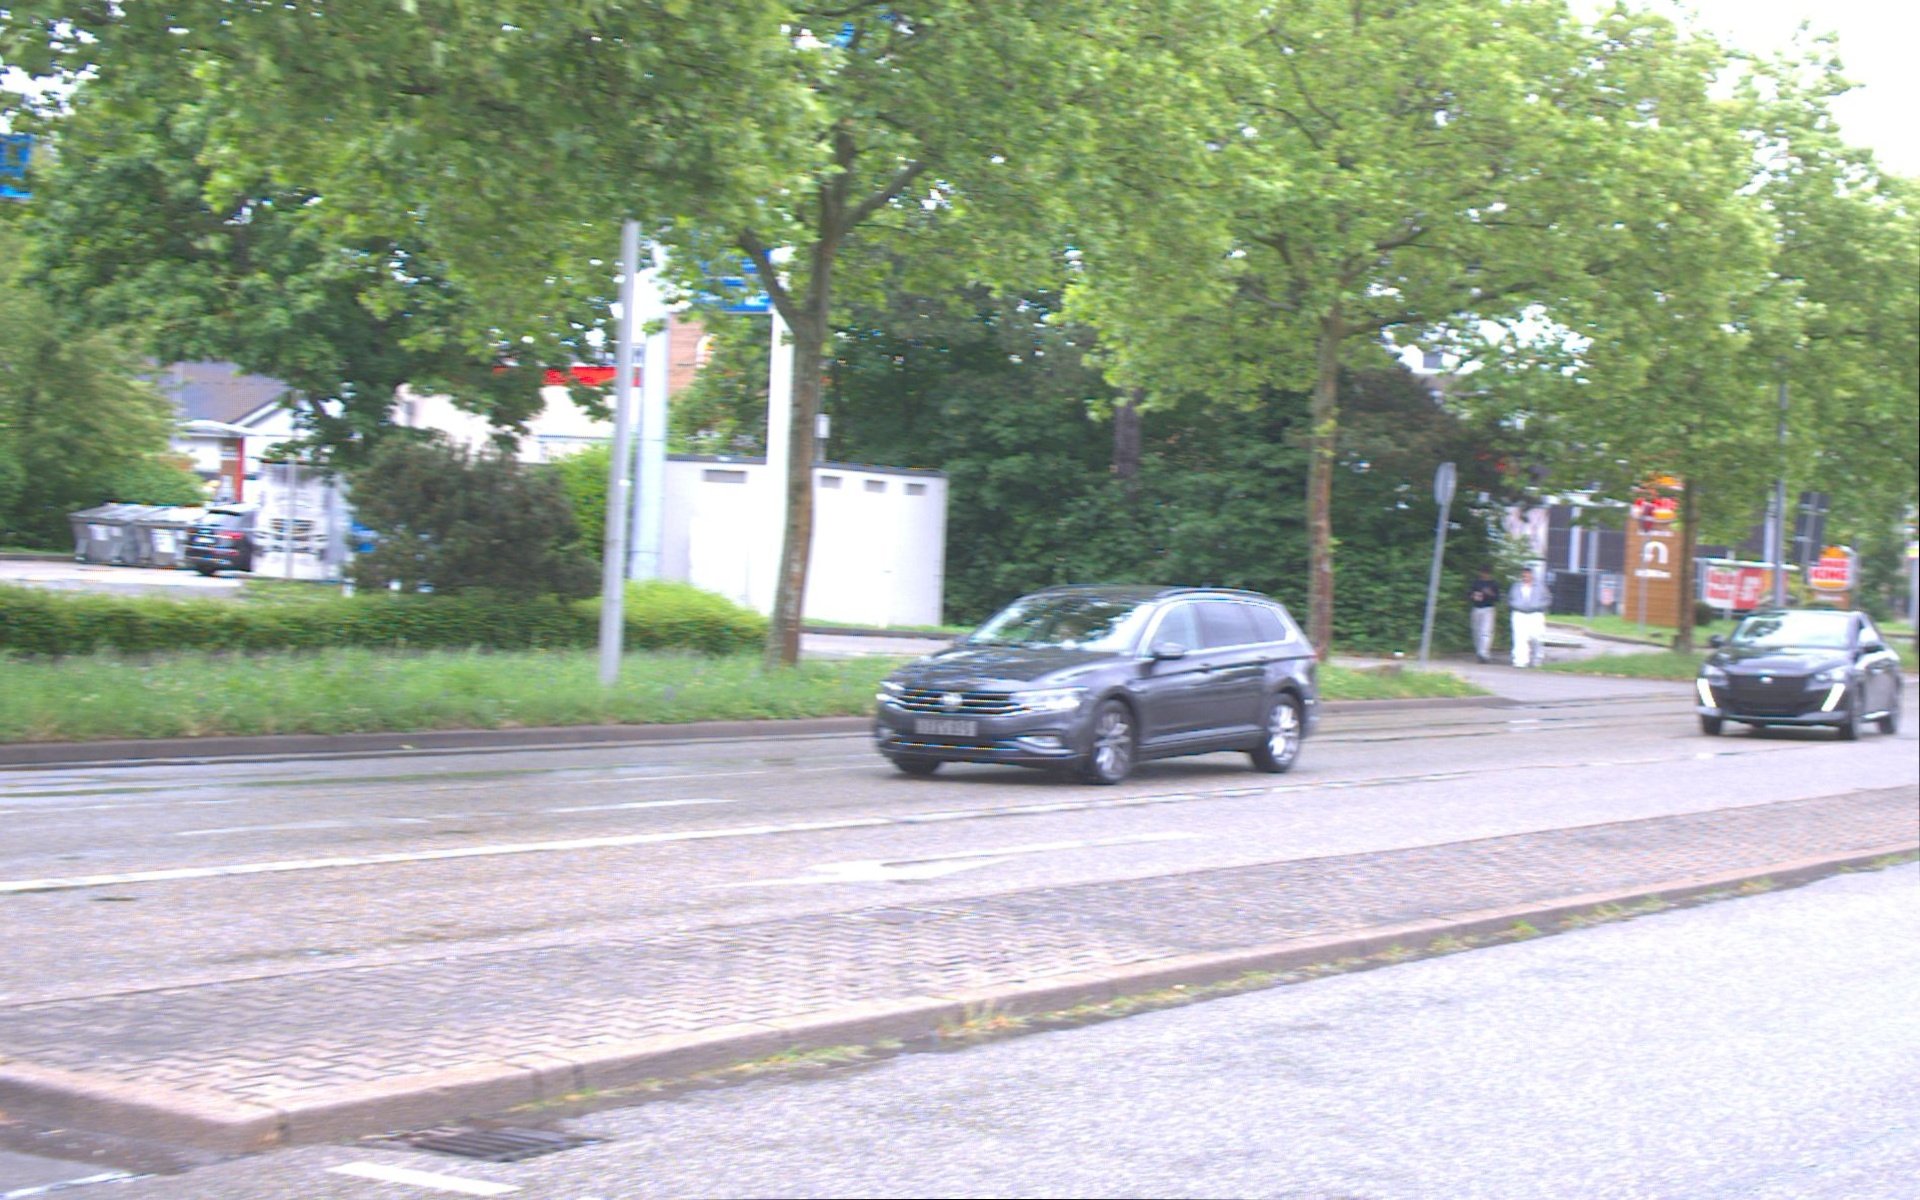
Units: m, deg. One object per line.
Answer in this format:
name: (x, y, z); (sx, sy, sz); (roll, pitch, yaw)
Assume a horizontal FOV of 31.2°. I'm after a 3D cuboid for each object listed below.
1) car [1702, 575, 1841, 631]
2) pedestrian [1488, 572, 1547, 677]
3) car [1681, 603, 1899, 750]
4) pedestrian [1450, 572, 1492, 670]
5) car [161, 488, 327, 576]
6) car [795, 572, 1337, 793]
car: (21.152, 0.084, 89.630); (3.182, 1.151, 1.288); (6, 2, 33)
pedestrian: (9.574, 0.419, 59.041); (0.581, 1.760, 0.666); (3, 1, -41)
car: (9.377, 0.825, 38.644); (1.645, 1.503, 3.888); (2, 0, 24)
pedestrian: (8.823, 0.365, 59.374); (0.512, 1.677, 0.540); (2, 0, 27)
car: (-15.857, -1.491, 76.357); (1.995, 1.831, 3.997); (2, 0, 15)
car: (0.932, 0.606, 26.570); (1.997, 1.503, 4.721); (2, 0, 33)
